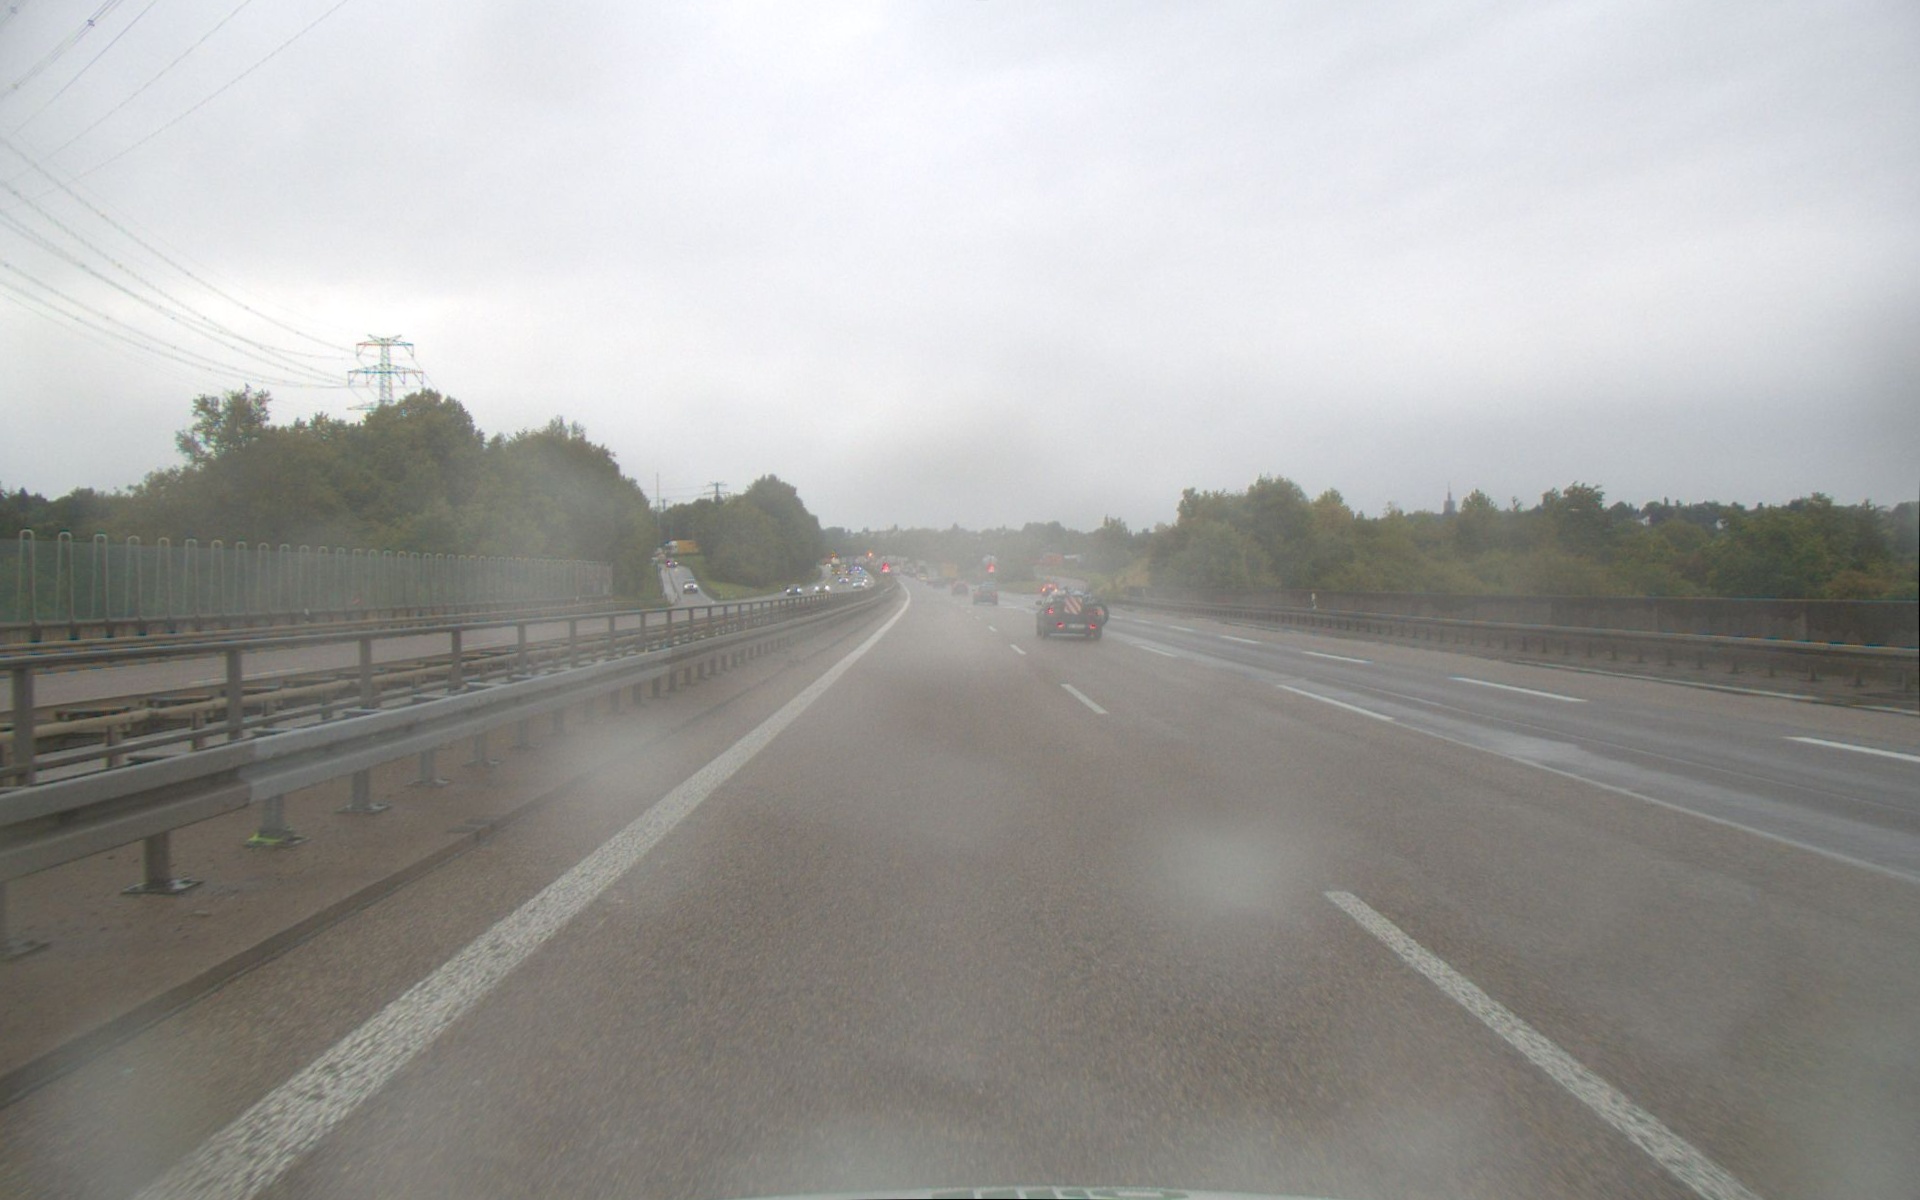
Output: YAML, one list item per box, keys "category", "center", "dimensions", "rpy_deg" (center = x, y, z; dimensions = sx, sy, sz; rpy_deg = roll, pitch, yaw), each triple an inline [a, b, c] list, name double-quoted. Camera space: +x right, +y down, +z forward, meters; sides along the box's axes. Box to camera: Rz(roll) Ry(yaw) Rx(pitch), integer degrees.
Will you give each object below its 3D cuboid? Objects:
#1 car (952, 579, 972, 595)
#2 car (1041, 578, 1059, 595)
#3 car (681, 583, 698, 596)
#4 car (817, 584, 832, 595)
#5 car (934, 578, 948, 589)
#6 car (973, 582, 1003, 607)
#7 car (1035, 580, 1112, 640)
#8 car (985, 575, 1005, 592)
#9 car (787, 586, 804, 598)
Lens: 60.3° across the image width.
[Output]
- category: "car"
  center: [0.227, -1.505, 185.531]
  dimensions: [1.954, 1.657, 3.998]
  rpy_deg: [-1, 1, -3]
- category: "car"
  center: [9.817, -1.483, 180.363]
  dimensions: [1.882, 1.739, 4.002]
  rpy_deg: [-1, 1, 4]
- category: "car"
  center: [-38.358, -1.504, 234.471]
  dimensions: [1.960, 1.699, 3.985]
  rpy_deg: [-1, 1, -14]
- category: "car"
  center: [-18.383, -1.446, 224.810]
  dimensions: [1.779, 1.462, 4.088]
  rpy_deg: [-2, 1, -1]
- category: "car"
  center: [-3.055, -2.615, 262.403]
  dimensions: [1.954, 1.657, 3.998]
  rpy_deg: [-1, 1, -3]
- category: "car"
  center: [2.062, -0.424, 123.261]
  dimensions: [1.954, 1.791, 3.998]
  rpy_deg: [-1, 1, -3]
- category: "car"
  center: [3.418, 0.275, 50.785]
  dimensions: [2.015, 1.700, 5.522]
  rpy_deg: [0, 0, 0]
- category: "car"
  center: [4.083, -1.937, 191.834]
  dimensions: [1.954, 1.791, 3.998]
  rpy_deg: [-1, 1, -3]
- category: "car"
  center: [-21.174, -1.086, 213.240]
  dimensions: [1.779, 1.413, 4.088]
  rpy_deg: [-2, 1, -1]
